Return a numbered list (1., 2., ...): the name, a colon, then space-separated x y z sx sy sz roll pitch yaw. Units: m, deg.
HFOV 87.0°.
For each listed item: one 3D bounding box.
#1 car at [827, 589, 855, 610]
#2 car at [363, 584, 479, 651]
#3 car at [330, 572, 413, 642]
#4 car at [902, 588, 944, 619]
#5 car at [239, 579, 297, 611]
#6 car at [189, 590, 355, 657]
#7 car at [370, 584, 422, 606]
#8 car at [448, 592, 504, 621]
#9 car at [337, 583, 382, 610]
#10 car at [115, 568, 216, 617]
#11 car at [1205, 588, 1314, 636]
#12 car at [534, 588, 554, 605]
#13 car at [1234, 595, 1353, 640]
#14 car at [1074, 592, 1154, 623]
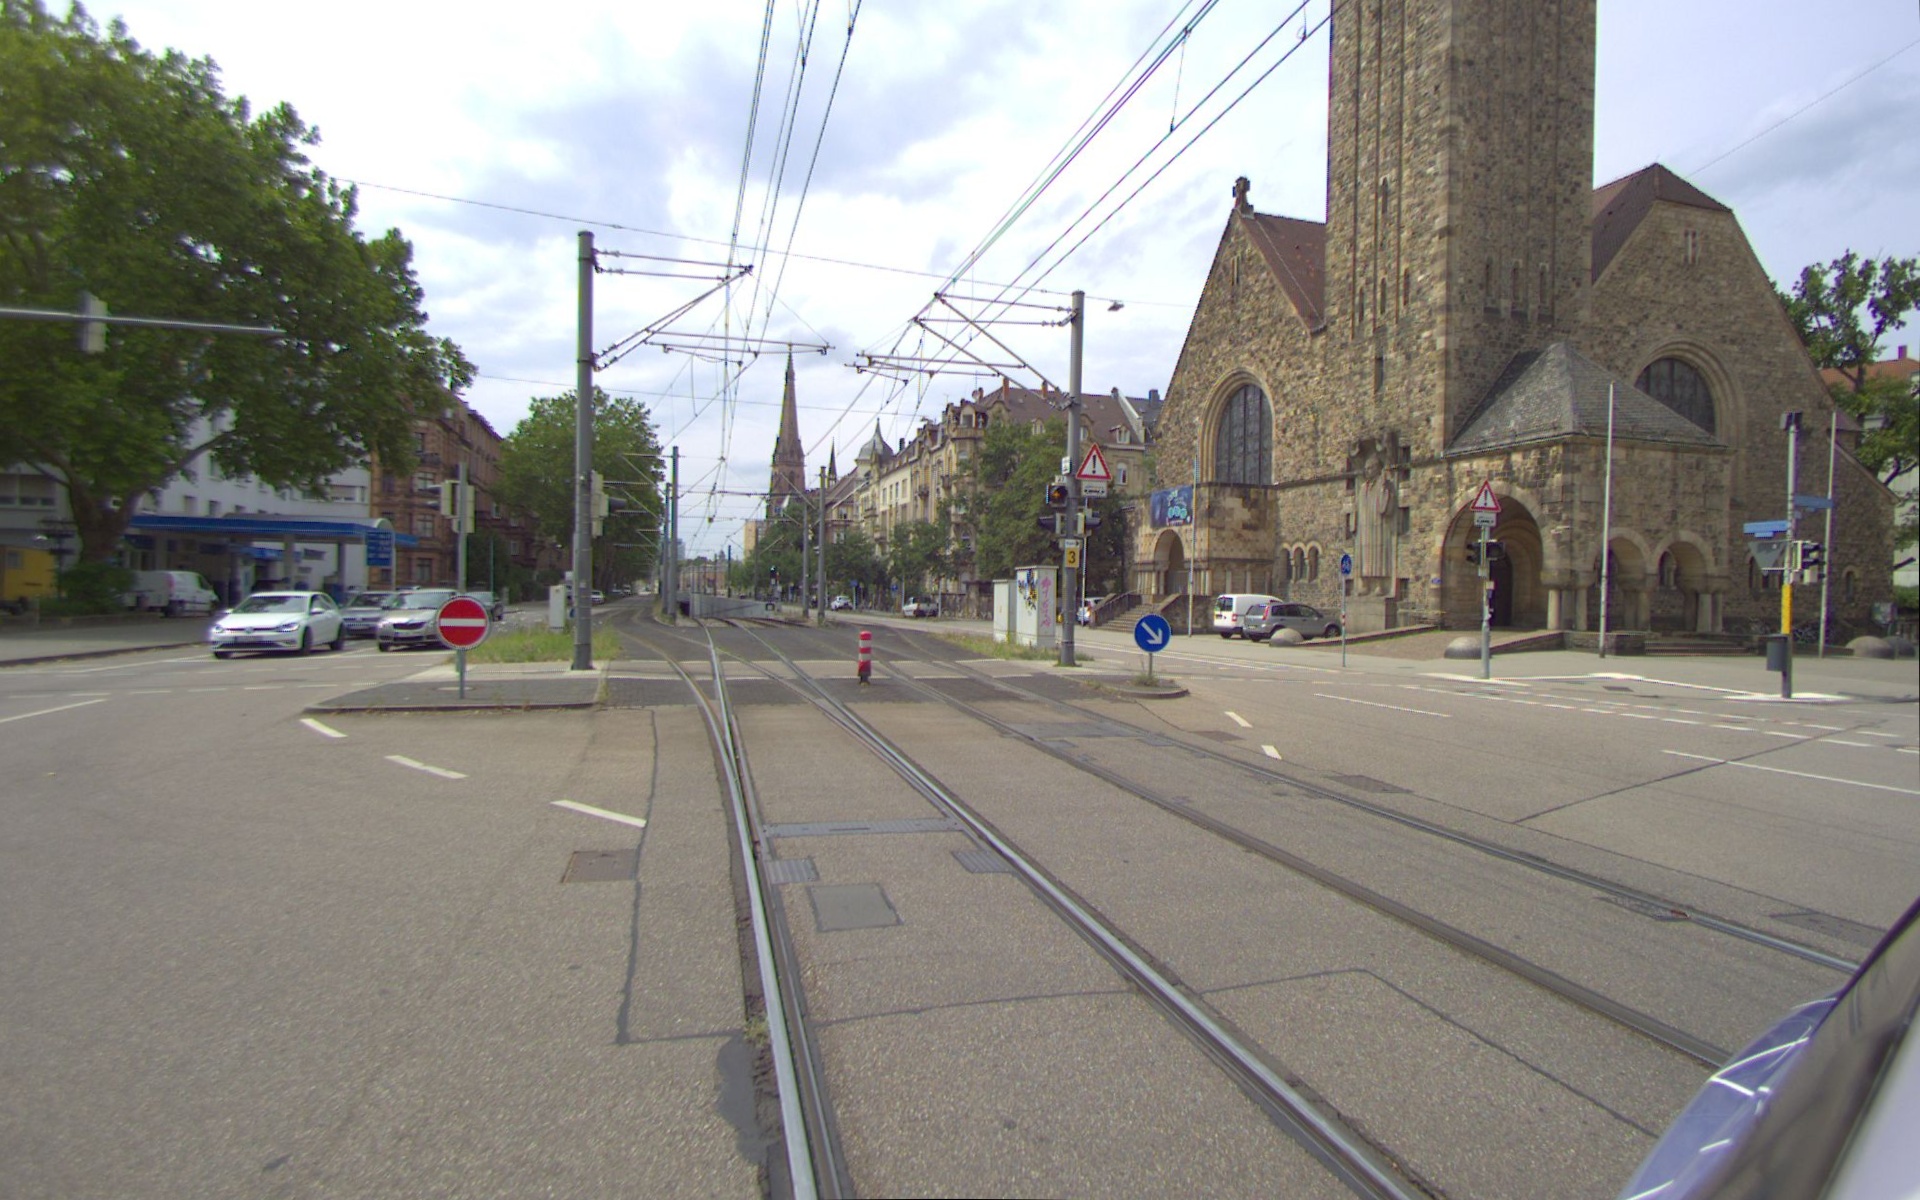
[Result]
1. car: -11.834 -0.093 100.795 1.958 2.039 4.008 1 0 -19
2. car: -13.471 0.396 25.547 1.800 1.530 4.297 1 0 -17
3. car: -18.337 0.168 31.686 1.959 2.039 4.006 0 1 -26
4. car: -2.632 0.204 70.243 1.958 2.039 4.008 1 0 -16
5. car: -46.163 -0.326 67.618 1.958 2.039 4.008 1 0 -15
6. car: -15.701 0.492 23.383 1.800 1.401 4.296 1 0 -15
7. car: -35.586 -0.325 63.983 1.958 1.282 4.008 1 0 -16
8. car: -23.236 0.287 48.677 1.958 1.282 4.008 1 0 -19
9. car: -47.063 -0.283 79.400 1.958 2.039 4.008 1 0 -15
10. car: -32.747 -0.300 41.872 1.958 1.901 4.390 1 0 -20
11. car: 12.451 0.499 42.188 3.871 1.905 2.004 1 0 -17
12. car: -52.825 -0.446 128.551 1.958 2.039 4.008 1 0 -16
13. car: 12.901 0.679 39.248 3.915 1.672 2.004 1 0 -17
14. car: 8.516 0.428 56.064 3.871 1.661 2.004 1 0 -17
